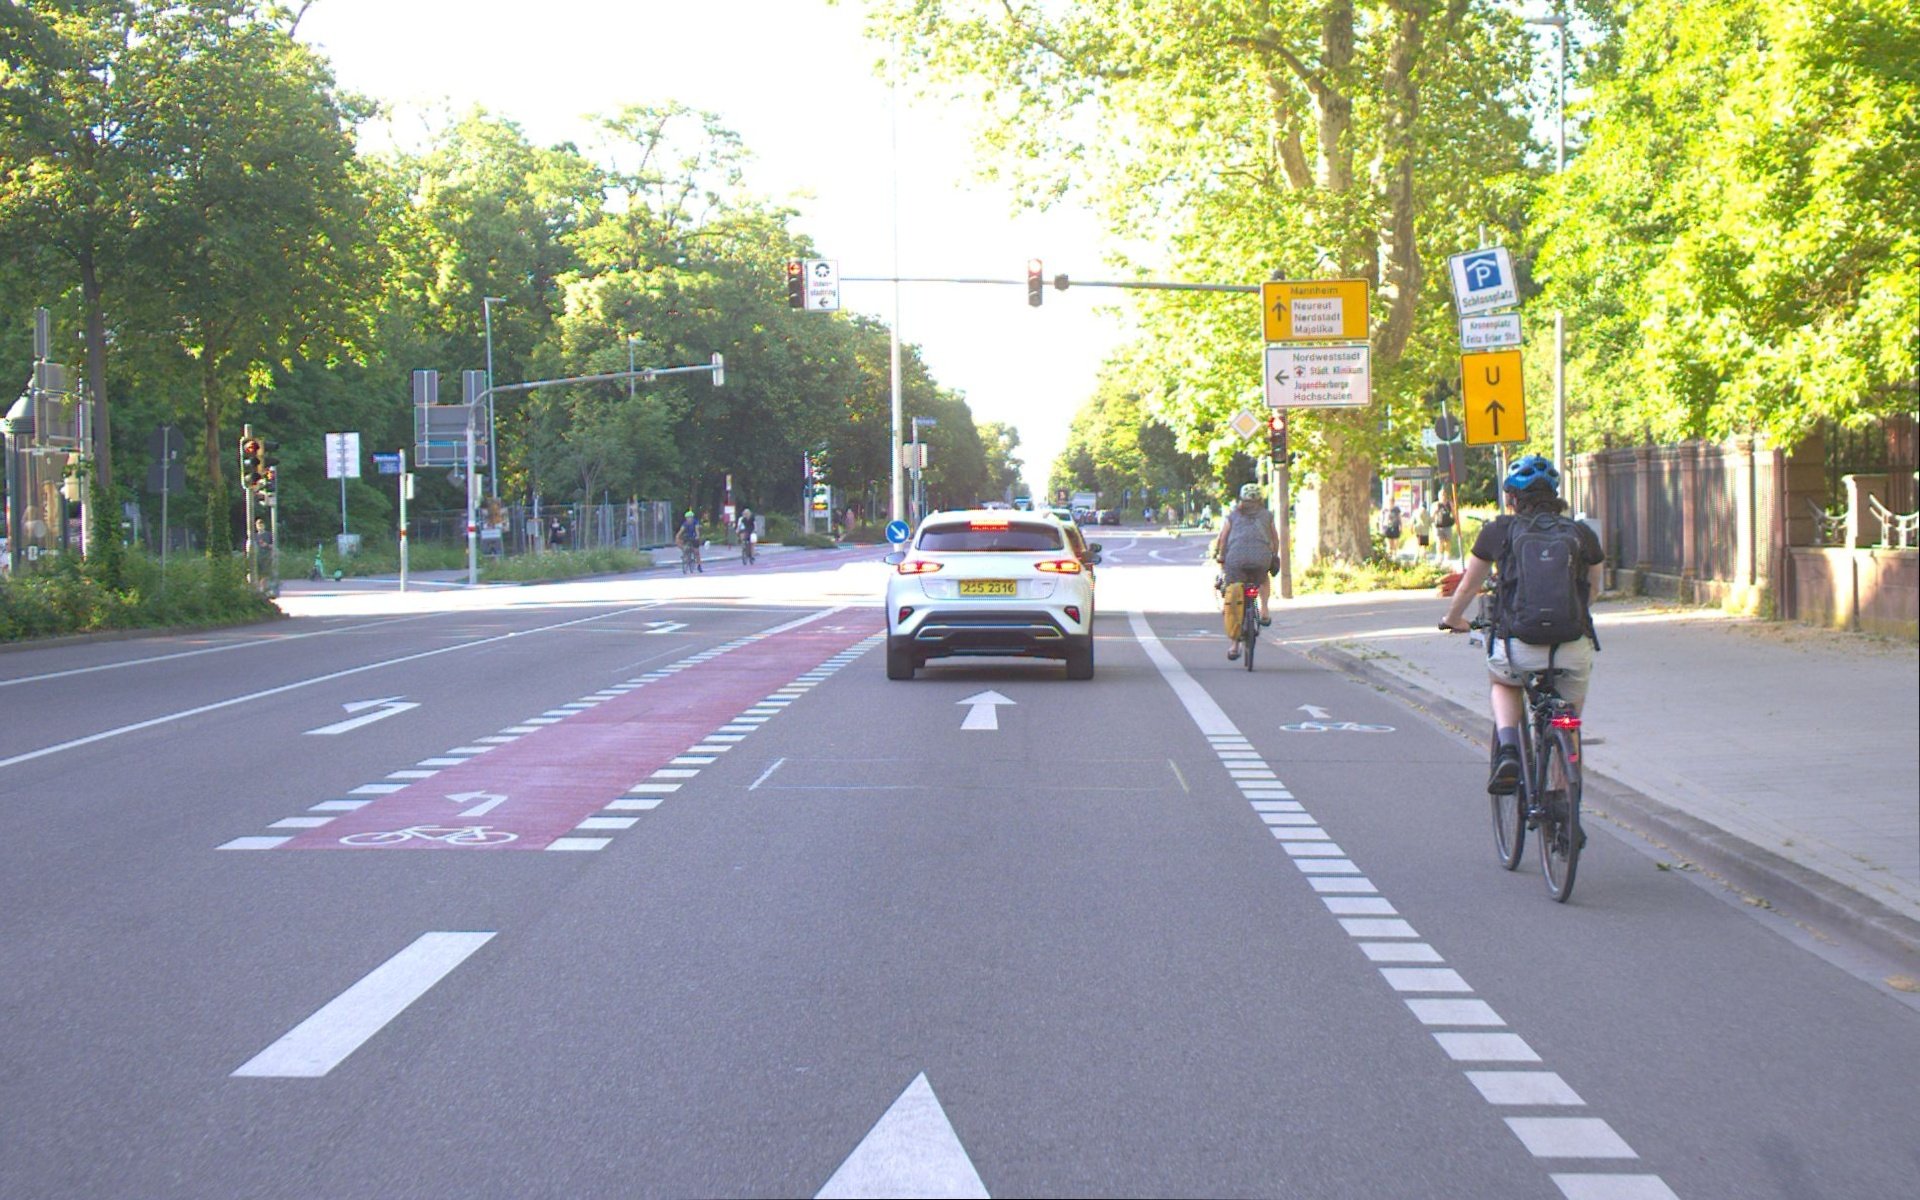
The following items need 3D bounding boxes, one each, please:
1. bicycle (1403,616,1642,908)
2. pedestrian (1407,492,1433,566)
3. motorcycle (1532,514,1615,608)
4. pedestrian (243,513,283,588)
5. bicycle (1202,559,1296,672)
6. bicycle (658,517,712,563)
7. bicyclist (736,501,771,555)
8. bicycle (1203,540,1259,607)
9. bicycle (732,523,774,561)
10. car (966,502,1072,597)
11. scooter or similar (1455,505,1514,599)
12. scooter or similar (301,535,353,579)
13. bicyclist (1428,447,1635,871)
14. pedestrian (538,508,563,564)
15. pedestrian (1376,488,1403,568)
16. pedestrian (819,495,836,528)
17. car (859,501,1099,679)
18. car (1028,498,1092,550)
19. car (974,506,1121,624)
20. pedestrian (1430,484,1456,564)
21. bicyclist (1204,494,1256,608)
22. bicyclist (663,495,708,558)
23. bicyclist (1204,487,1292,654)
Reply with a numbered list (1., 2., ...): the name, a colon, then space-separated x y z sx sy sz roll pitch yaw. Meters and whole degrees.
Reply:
1. bicycle: 2.252 0.614 14.010 0.643 1.021 2.212 0 1 1
2. pedestrian: 10.587 -1.634 79.074 0.482 1.634 0.432 -4 5 8
3. motorcycle: 8.079 -0.527 45.372 0.662 1.163 2.327 -4 1 1
4. pedestrian: -17.286 -1.236 85.320 0.687 1.786 0.769 -4 2 1
5. bicycle: 2.686 0.126 32.096 0.753 1.022 1.869 0 1 1
6. bicycle: -7.841 -1.723 98.133 1.102 1.250 2.779 -2 1 3
7. bicyclist: -6.692 -2.337 111.350 0.956 1.699 1.232 -2 1 3
8. bicycle: 4.182 -0.419 53.116 0.753 1.022 1.869 0 1 1
9. bicycle: -6.691 -1.878 111.296 0.964 1.176 2.951 -2 1 3
10. car: 1.058 -0.919 61.023 1.770 1.586 4.000 -2 1 1
11. scooter or similar: 7.948 -0.742 52.153 0.566 1.378 1.856 -2 1 0
12. scooter or similar: -17.356 -1.179 94.294 0.511 1.140 1.699 -1 2 23
13. bicyclist: 2.257 0.210 13.696 0.636 1.608 1.284 0 1 1
14. pedestrian: -13.897 -2.177 116.671 0.651 1.881 0.662 -2 1 4
15. pedestrian: 9.865 -1.660 78.969 0.482 1.786 0.432 -4 5 8
16. pedestrian: -8.717 -5.808 226.075 0.876 2.142 1.103 -1 1 11
17. car: 0.204 -0.136 31.167 1.993 1.448 4.000 -2 1 1
18. car: 3.194 -2.421 108.814 1.737 1.541 4.000 -1 2 5
19. car: 1.214 -0.523 48.097 1.929 1.528 4.000 -2 1 1
20. pedestrian: 11.199 -1.759 79.647 0.482 1.786 0.432 -4 5 8
21. bicyclist: 4.173 -0.757 53.140 0.749 1.744 0.843 0 1 1
22. bicyclist: -7.838 -2.098 98.135 1.092 1.748 1.097 -2 1 4
23. bicyclist: 2.686 -0.284 32.171 0.747 1.532 0.969 0 1 1
